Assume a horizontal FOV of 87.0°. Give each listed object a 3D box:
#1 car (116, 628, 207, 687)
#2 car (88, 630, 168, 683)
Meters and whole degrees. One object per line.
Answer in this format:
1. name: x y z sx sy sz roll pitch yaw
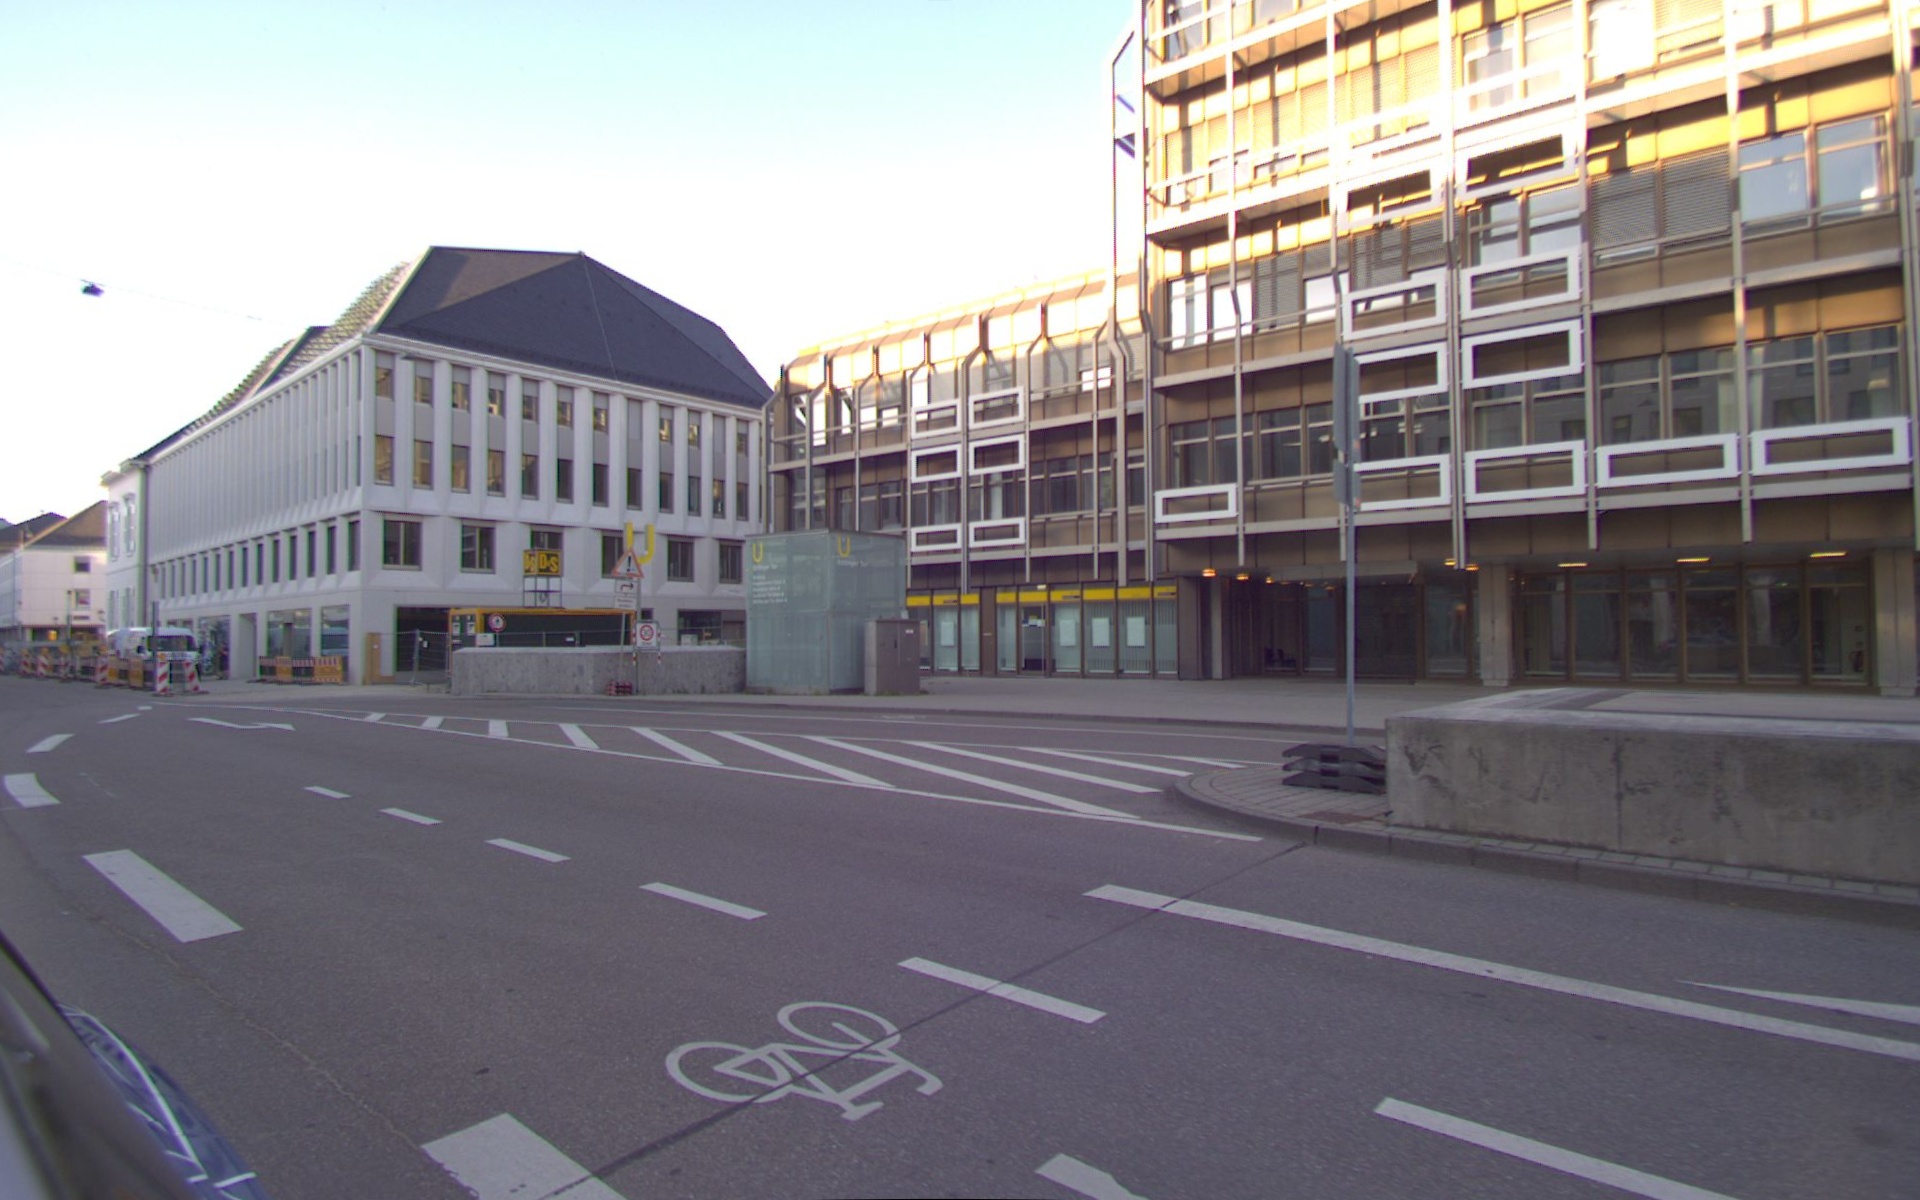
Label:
1. car: -36.229 2.564 45.838 5.996 2.489 2.151 -3 -3 41
2. car: -41.801 2.808 50.777 5.996 2.489 2.150 -3 -3 42
